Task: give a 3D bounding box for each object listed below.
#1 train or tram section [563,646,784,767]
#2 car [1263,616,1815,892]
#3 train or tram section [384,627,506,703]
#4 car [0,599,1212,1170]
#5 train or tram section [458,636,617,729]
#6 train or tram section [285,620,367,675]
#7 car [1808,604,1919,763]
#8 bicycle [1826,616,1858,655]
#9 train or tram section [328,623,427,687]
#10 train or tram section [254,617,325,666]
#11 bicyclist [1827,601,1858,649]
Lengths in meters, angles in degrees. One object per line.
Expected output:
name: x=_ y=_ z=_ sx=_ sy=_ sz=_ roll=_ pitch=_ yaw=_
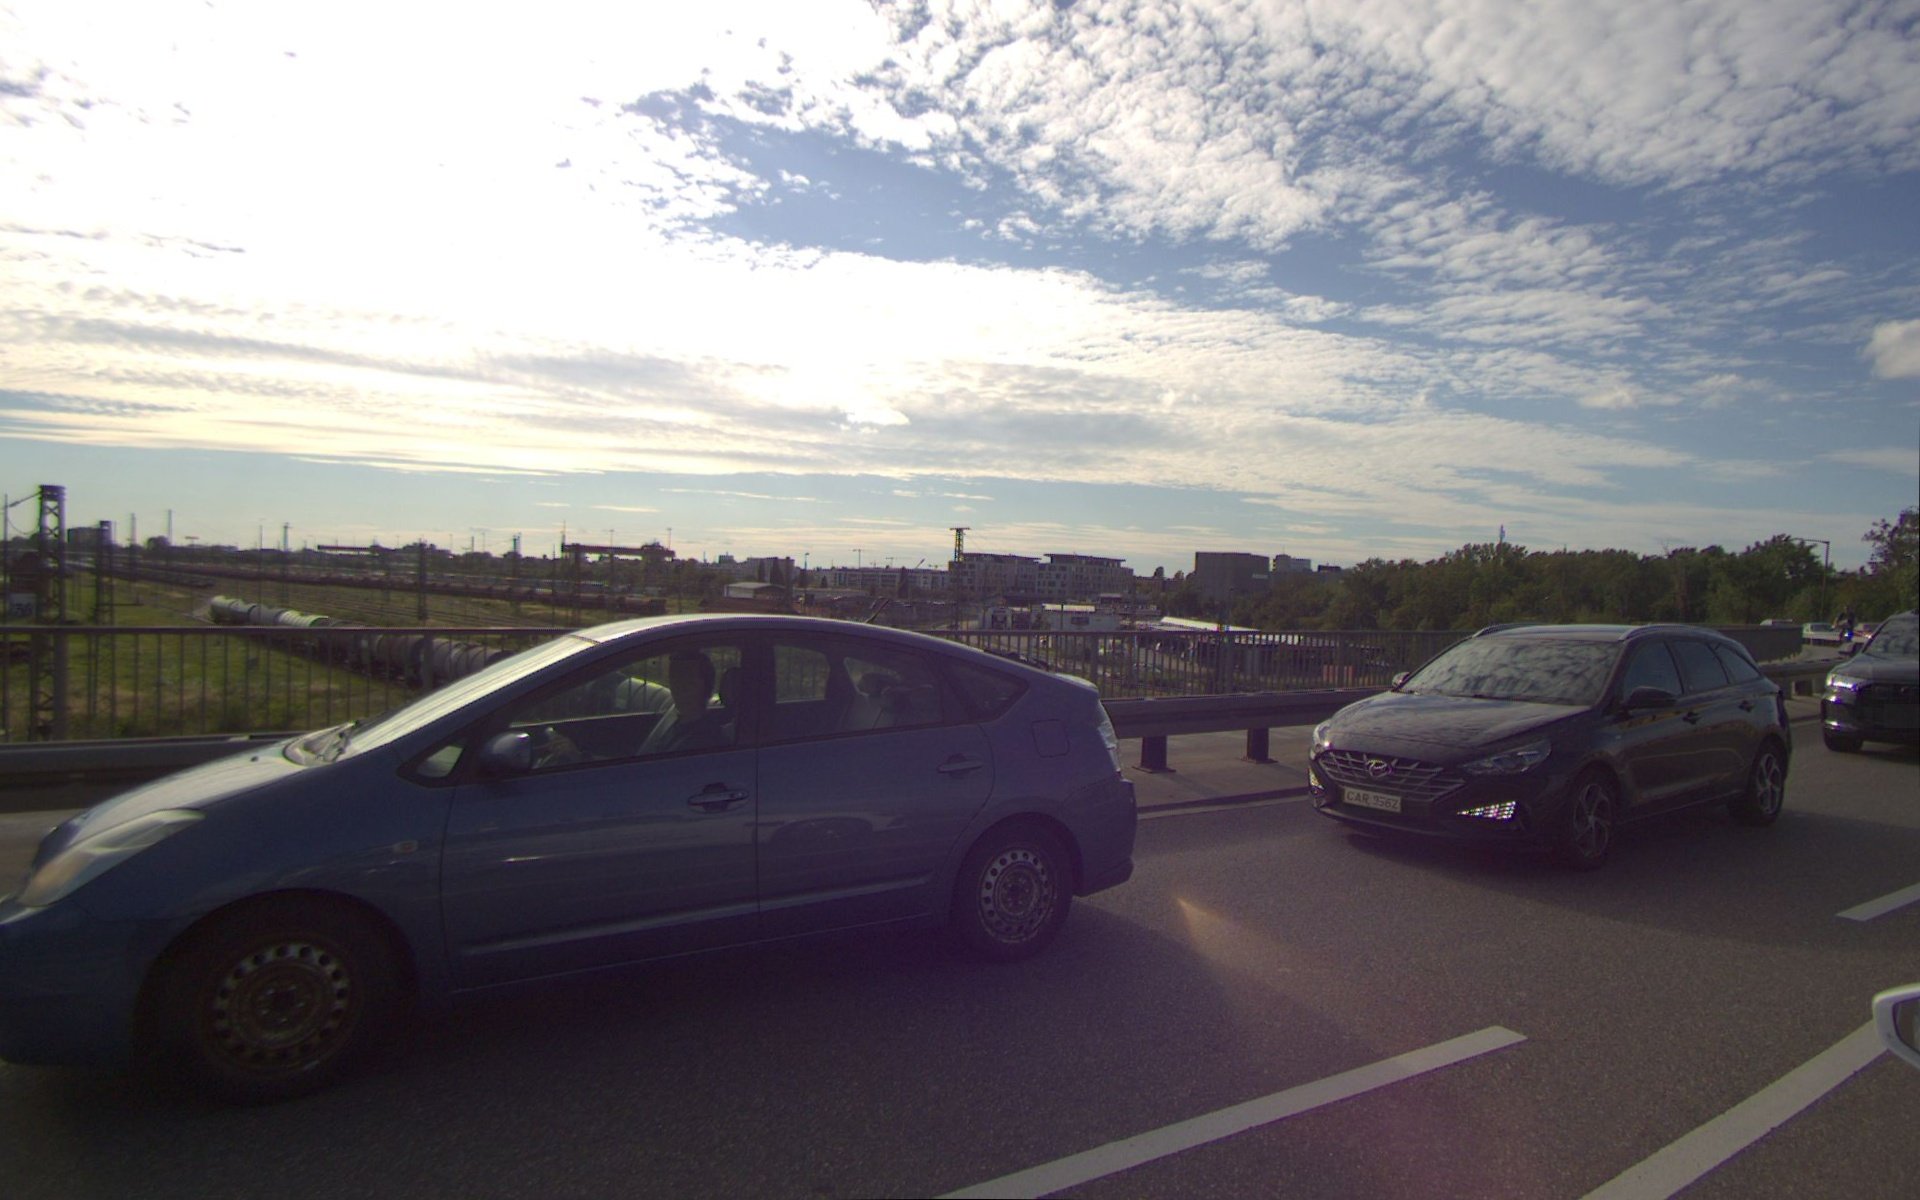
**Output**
train or tram section: x=-15.128 y=4.996 z=51.190 sx=16.522 sy=4.775 sz=3.077 roll=0 pitch=-1 yaw=45
car: x=4.419 y=0.886 z=7.451 sx=4.397 sy=1.509 sz=1.750 roll=1 pitch=-1 yaw=-33
train or tram section: x=-38.497 y=4.588 z=74.526 sx=16.522 sy=4.775 sz=3.077 roll=0 pitch=-1 yaw=45
car: x=-1.113 y=0.787 z=4.467 sx=4.338 sy=1.509 sz=1.752 roll=1 pitch=-1 yaw=-29
train or tram section: x=-26.830 y=4.832 z=62.886 sx=16.522 sy=4.775 sz=3.077 roll=0 pitch=-1 yaw=45
train or tram section: x=-61.937 y=4.425 z=97.831 sx=16.522 sy=4.775 sz=3.077 roll=0 pitch=-1 yaw=45
car: x=12.170 y=0.921 z=12.100 sx=4.817 sy=1.694 sz=1.818 roll=1 pitch=-1 yaw=-35
bicycle: x=31.198 y=1.248 z=35.529 sx=0.756 sy=1.349 sz=1.904 roll=0 pitch=-1 yaw=44
train or tram section: x=-50.175 y=4.525 z=86.146 sx=16.522 sy=4.775 sz=3.077 roll=0 pitch=-1 yaw=45
train or tram section: x=-72.241 y=4.291 z=108.015 sx=16.522 sy=4.775 sz=3.077 roll=0 pitch=-1 yaw=45
bicyclist: x=31.257 y=0.880 z=35.576 sx=0.758 sy=1.682 sz=1.113 roll=0 pitch=-1 yaw=44
